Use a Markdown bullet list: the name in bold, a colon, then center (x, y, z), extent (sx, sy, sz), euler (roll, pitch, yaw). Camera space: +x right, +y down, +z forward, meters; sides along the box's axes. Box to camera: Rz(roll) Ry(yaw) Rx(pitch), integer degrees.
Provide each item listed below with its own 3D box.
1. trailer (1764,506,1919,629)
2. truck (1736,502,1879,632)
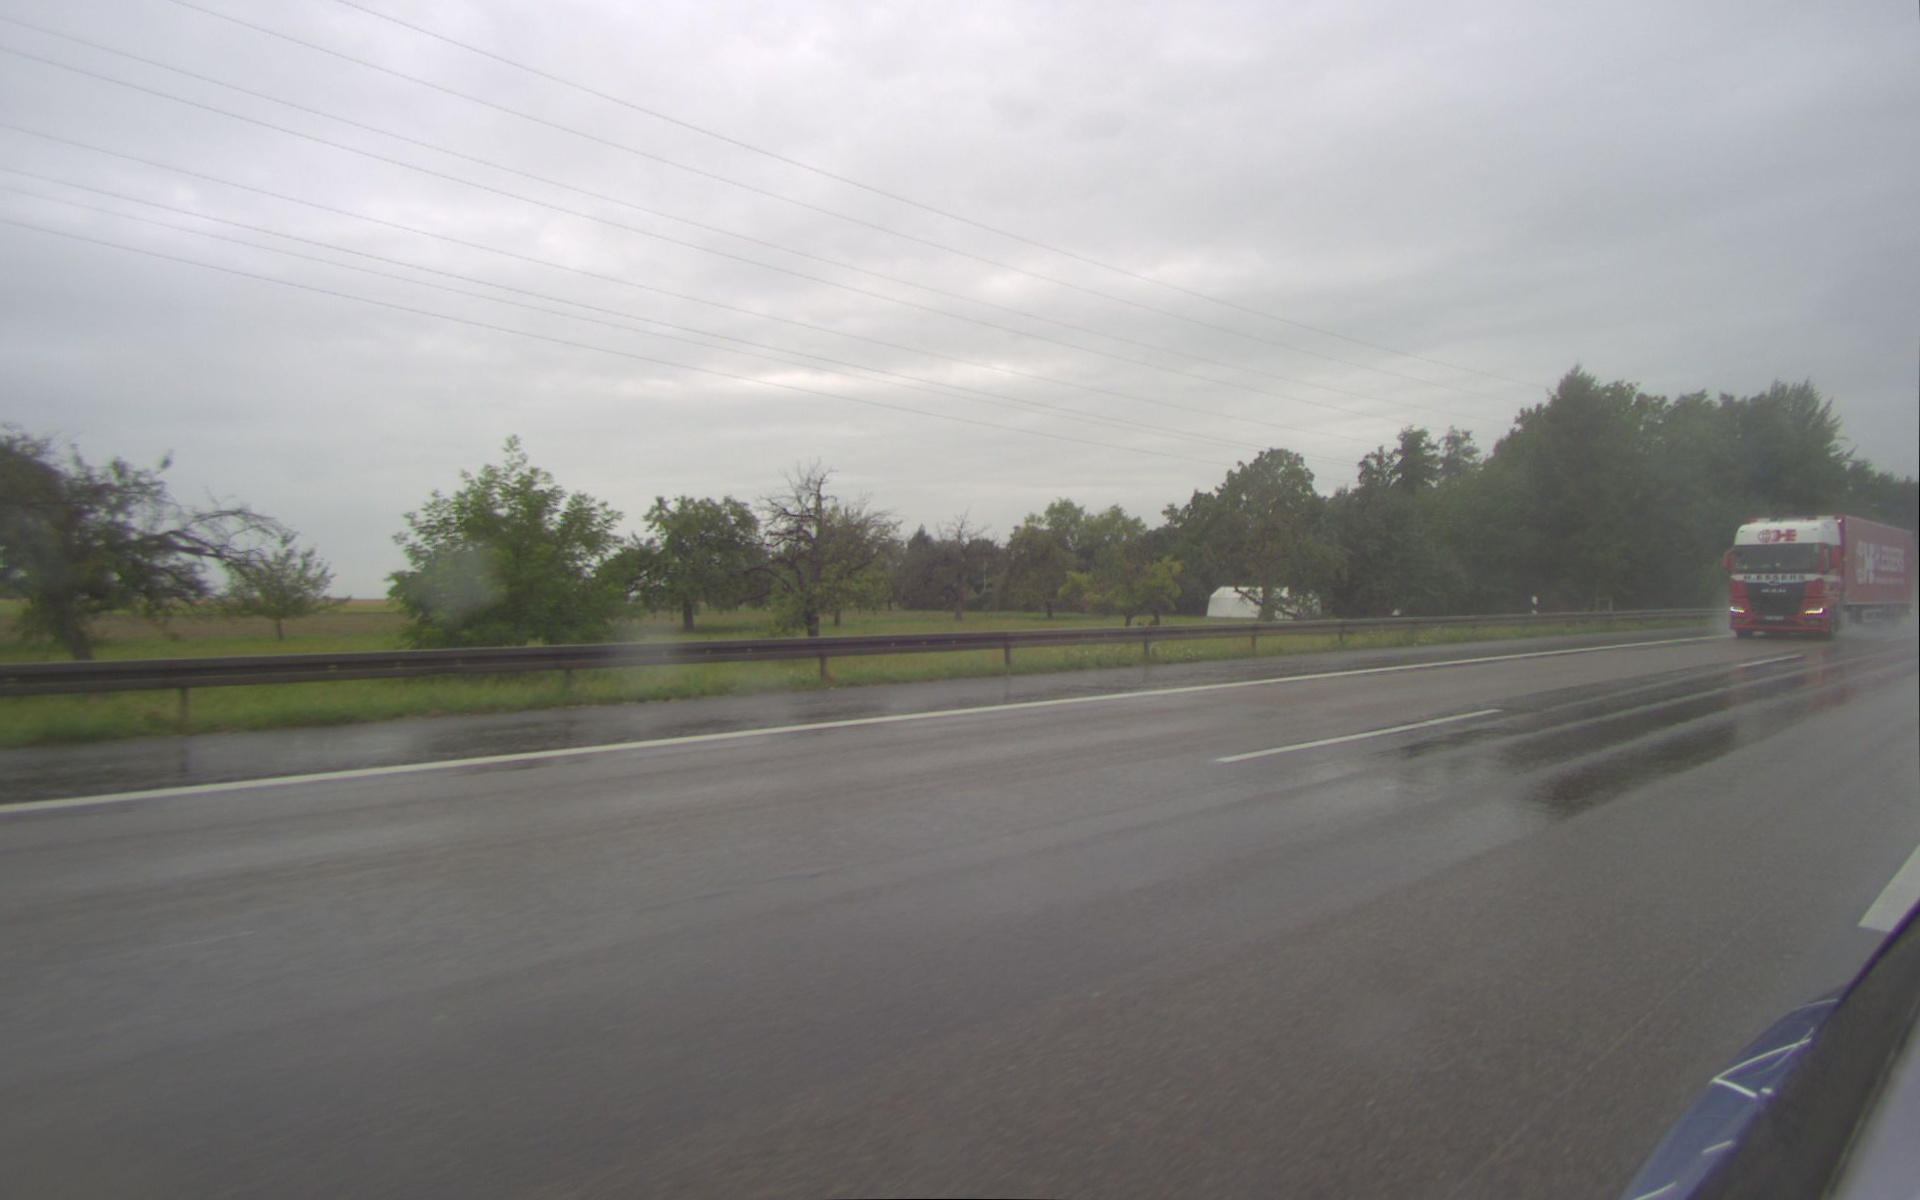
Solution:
- **trailer**: center (33.848, -1.148, 38.158), extent (13.383, 4.005, 2.626), euler (-1, 1, -39)
- **truck**: center (28.242, -1.059, 33.684), extent (5.334, 4.005, 2.627), euler (-1, 1, -38)
